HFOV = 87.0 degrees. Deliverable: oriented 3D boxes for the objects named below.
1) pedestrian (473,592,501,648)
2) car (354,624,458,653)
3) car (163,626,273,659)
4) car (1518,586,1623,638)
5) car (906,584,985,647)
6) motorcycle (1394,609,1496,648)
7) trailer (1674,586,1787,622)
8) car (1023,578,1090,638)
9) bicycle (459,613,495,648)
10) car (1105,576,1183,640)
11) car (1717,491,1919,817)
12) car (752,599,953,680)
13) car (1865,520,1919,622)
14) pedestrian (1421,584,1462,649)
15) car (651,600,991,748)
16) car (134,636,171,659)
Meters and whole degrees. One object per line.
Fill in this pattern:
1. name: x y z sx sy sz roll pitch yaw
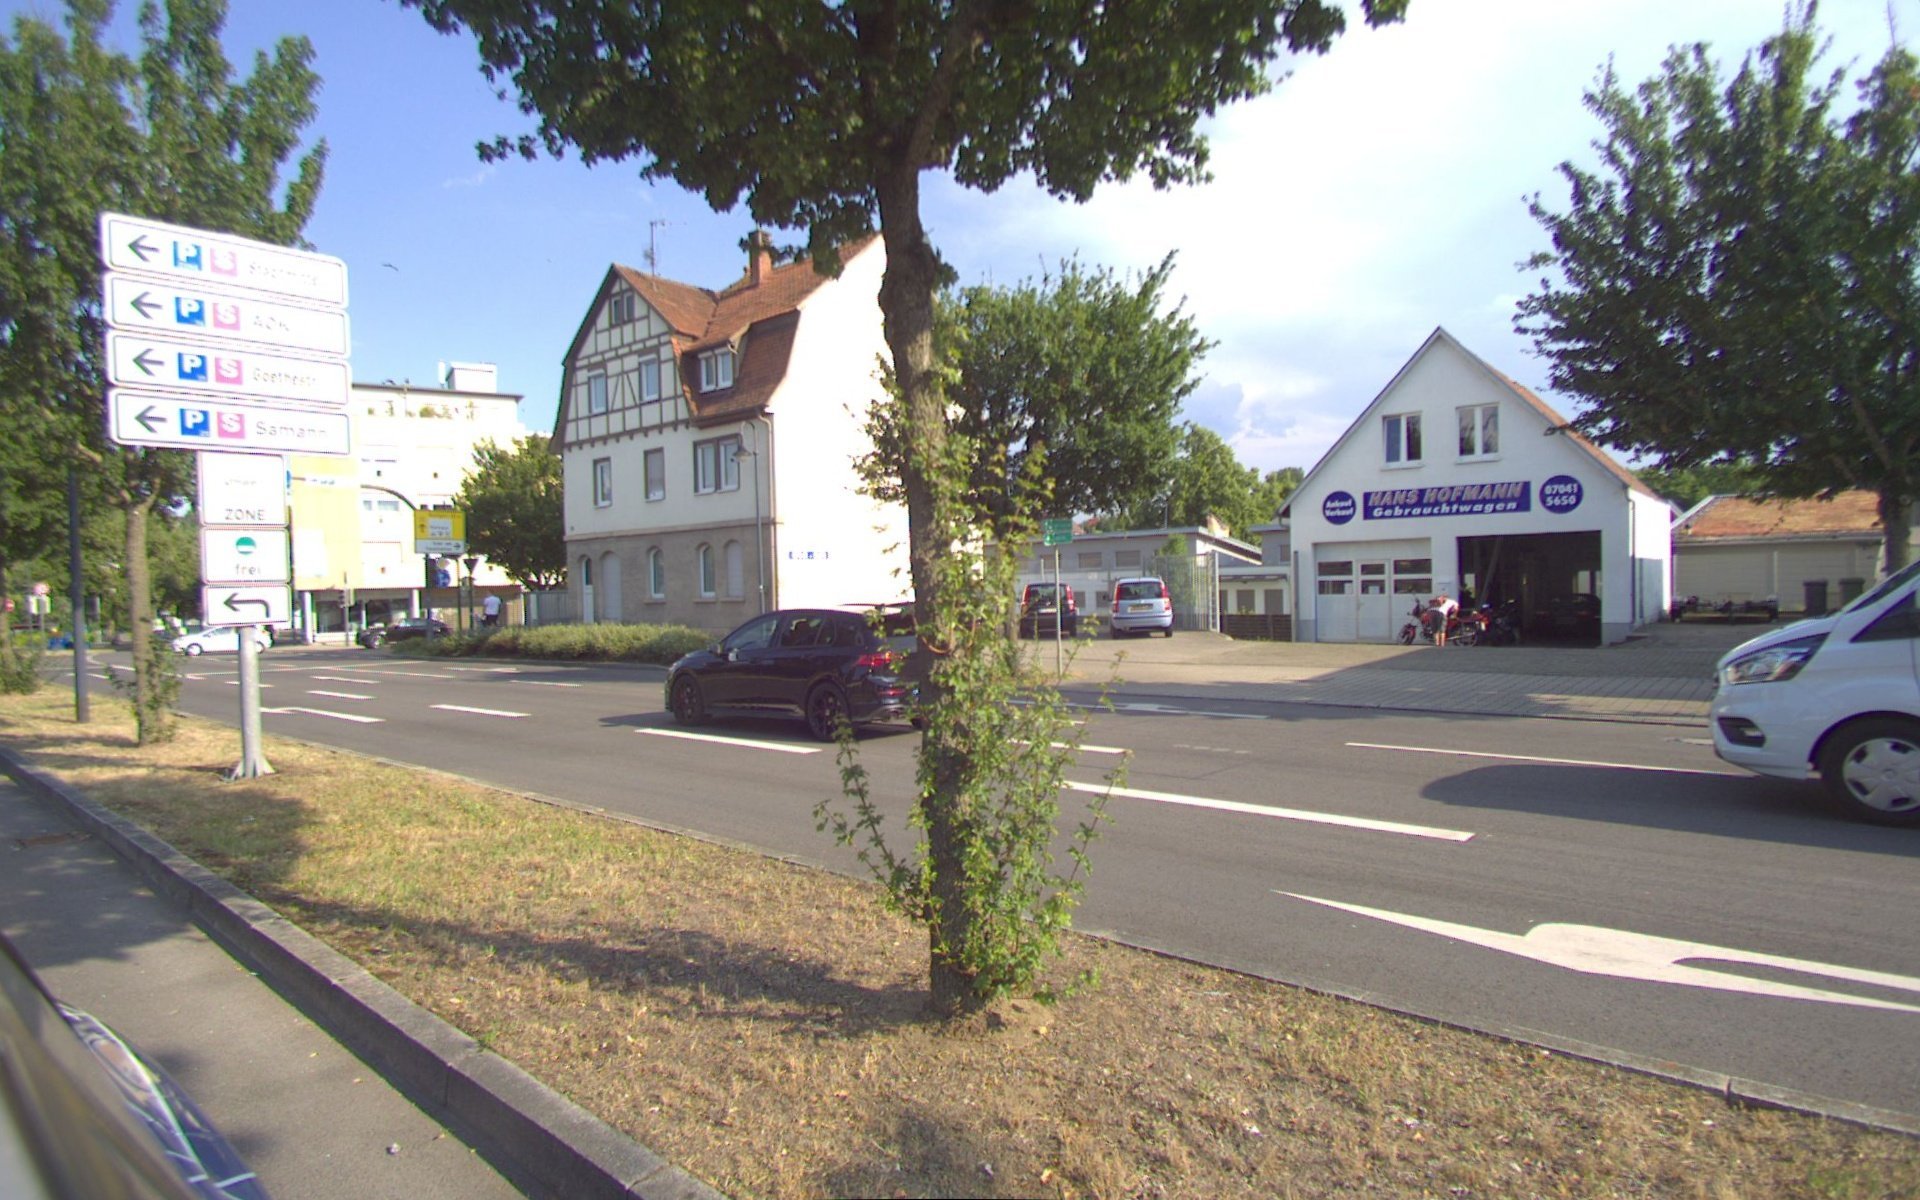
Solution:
1. pedestrian: -17.017 0.703 36.423 0.588 1.997 0.690 -1 0 42
2. car: -29.642 2.026 54.231 4.595 1.364 1.770 -1 0 -41
3. car: -35.857 2.024 48.963 4.070 1.364 1.769 -1 0 -44
4. car: 18.112 0.326 29.944 1.886 1.395 4.026 -1 0 43
5. car: -0.351 0.389 29.172 1.746 1.563 3.993 -2 2 6
6. motorcycle: 11.909 0.695 24.927 2.211 0.927 0.500 -1 0 44
7. trailer: 21.960 0.098 28.904 2.448 0.831 3.152 -1 2 38
8. car: 2.768 0.202 28.879 1.746 1.563 3.992 -1 0 6
9. bicycle: -17.694 1.096 37.056 1.514 1.231 0.672 -1 0 42
10. car: 4.860 0.199 27.216 1.746 1.563 3.992 -1 0 6
11. car: 7.412 0.289 5.624 4.945 1.938 1.803 -1 0 44
12. car: -2.341 0.790 21.529 4.192 1.454 1.816 -1 3 41
13. car: 23.617 -0.693 22.842 4.324 2.266 2.201 -1 0 0
14. pedestrian: 11.604 0.390 24.404 0.643 1.535 0.675 -1 0 -42
15. car: -1.778 0.770 12.118 4.105 1.462 1.751 -1 0 40
16. car: -56.447 3.292 70.778 1.738 1.364 4.172 -1 0 -35
